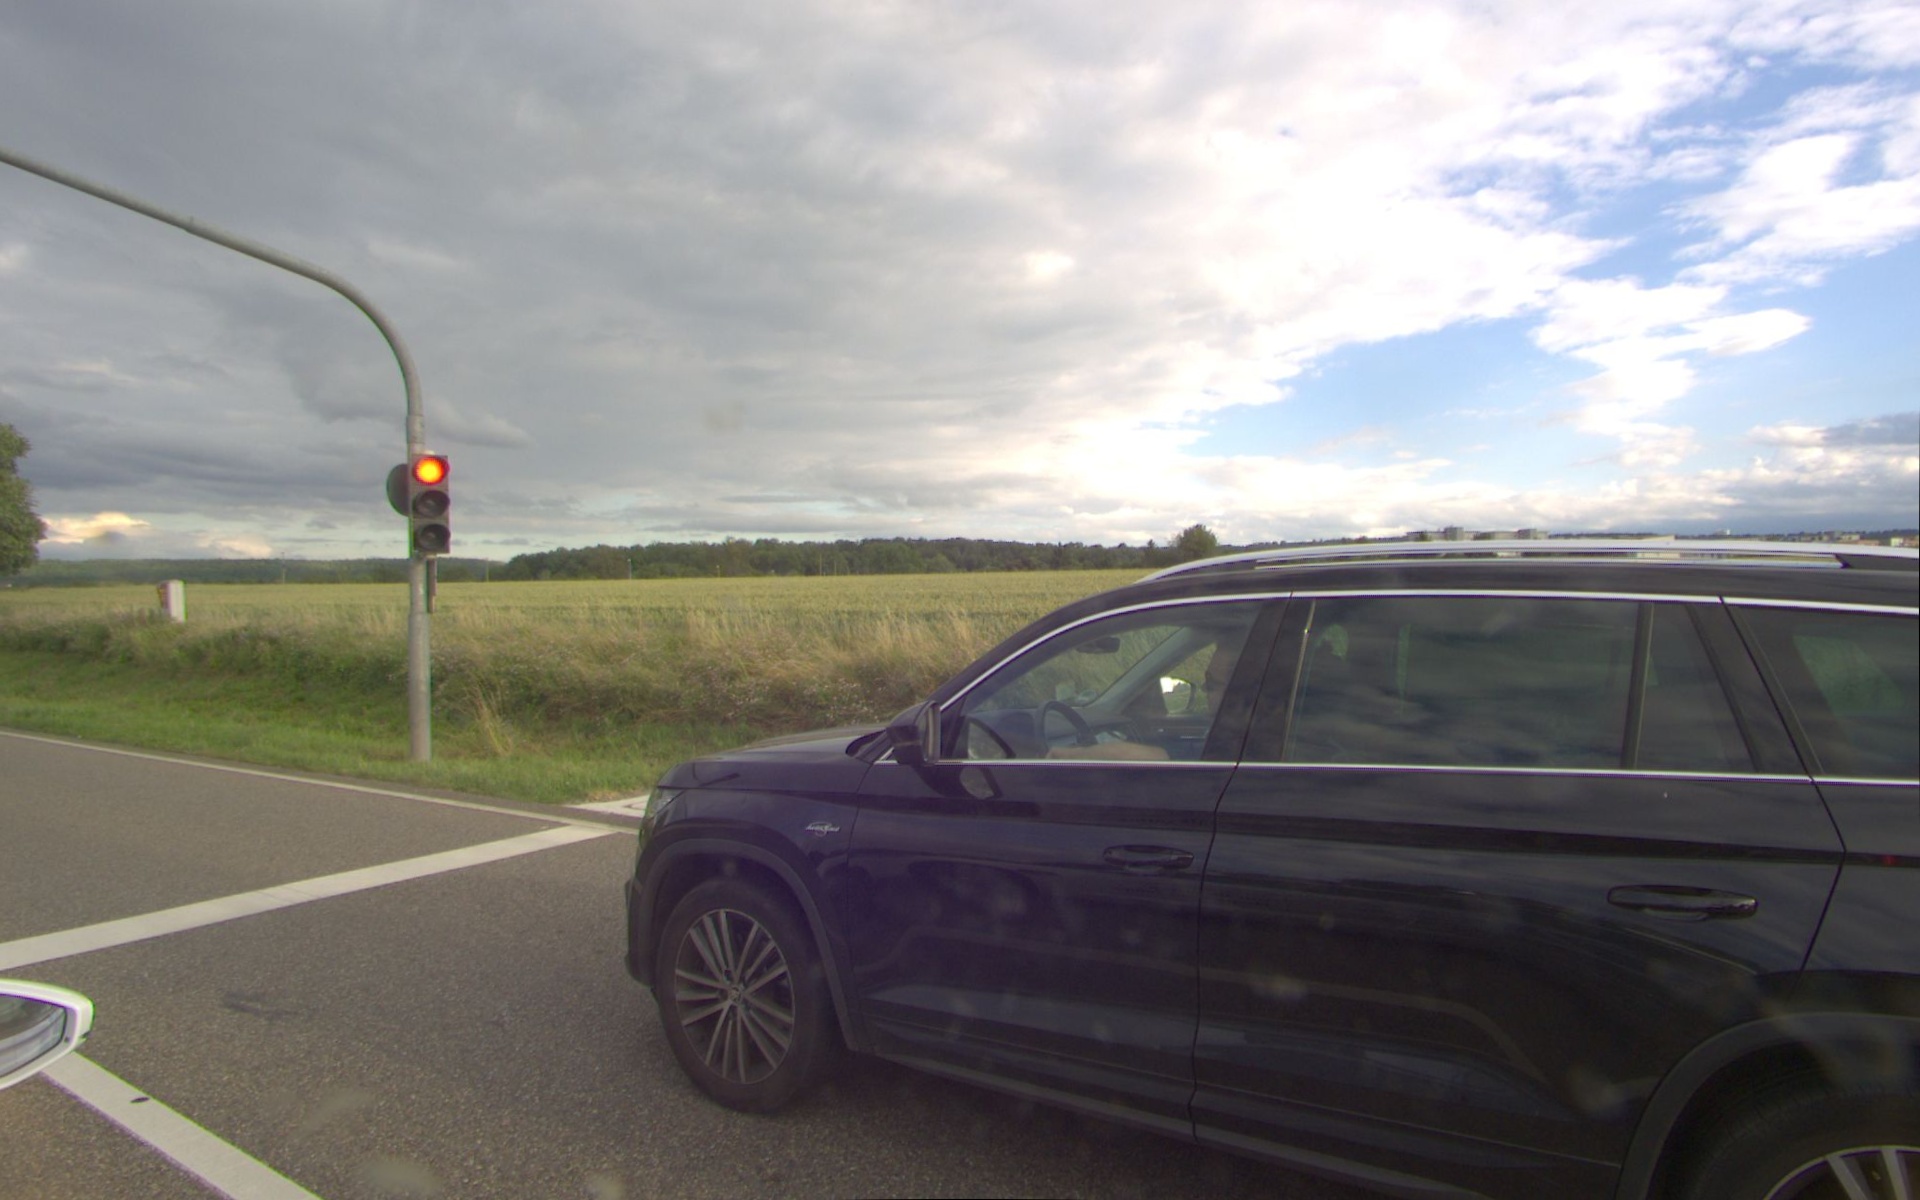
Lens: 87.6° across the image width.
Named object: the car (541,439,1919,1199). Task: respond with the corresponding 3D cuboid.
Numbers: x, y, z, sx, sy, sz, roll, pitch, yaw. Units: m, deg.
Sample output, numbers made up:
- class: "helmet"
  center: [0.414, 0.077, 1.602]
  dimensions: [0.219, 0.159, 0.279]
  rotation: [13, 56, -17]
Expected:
- class: "car"
  center: [0.910, 0.667, 3.077]
  dimensions: [4.492, 1.730, 1.833]
  rotation: [-1, -2, 32]
